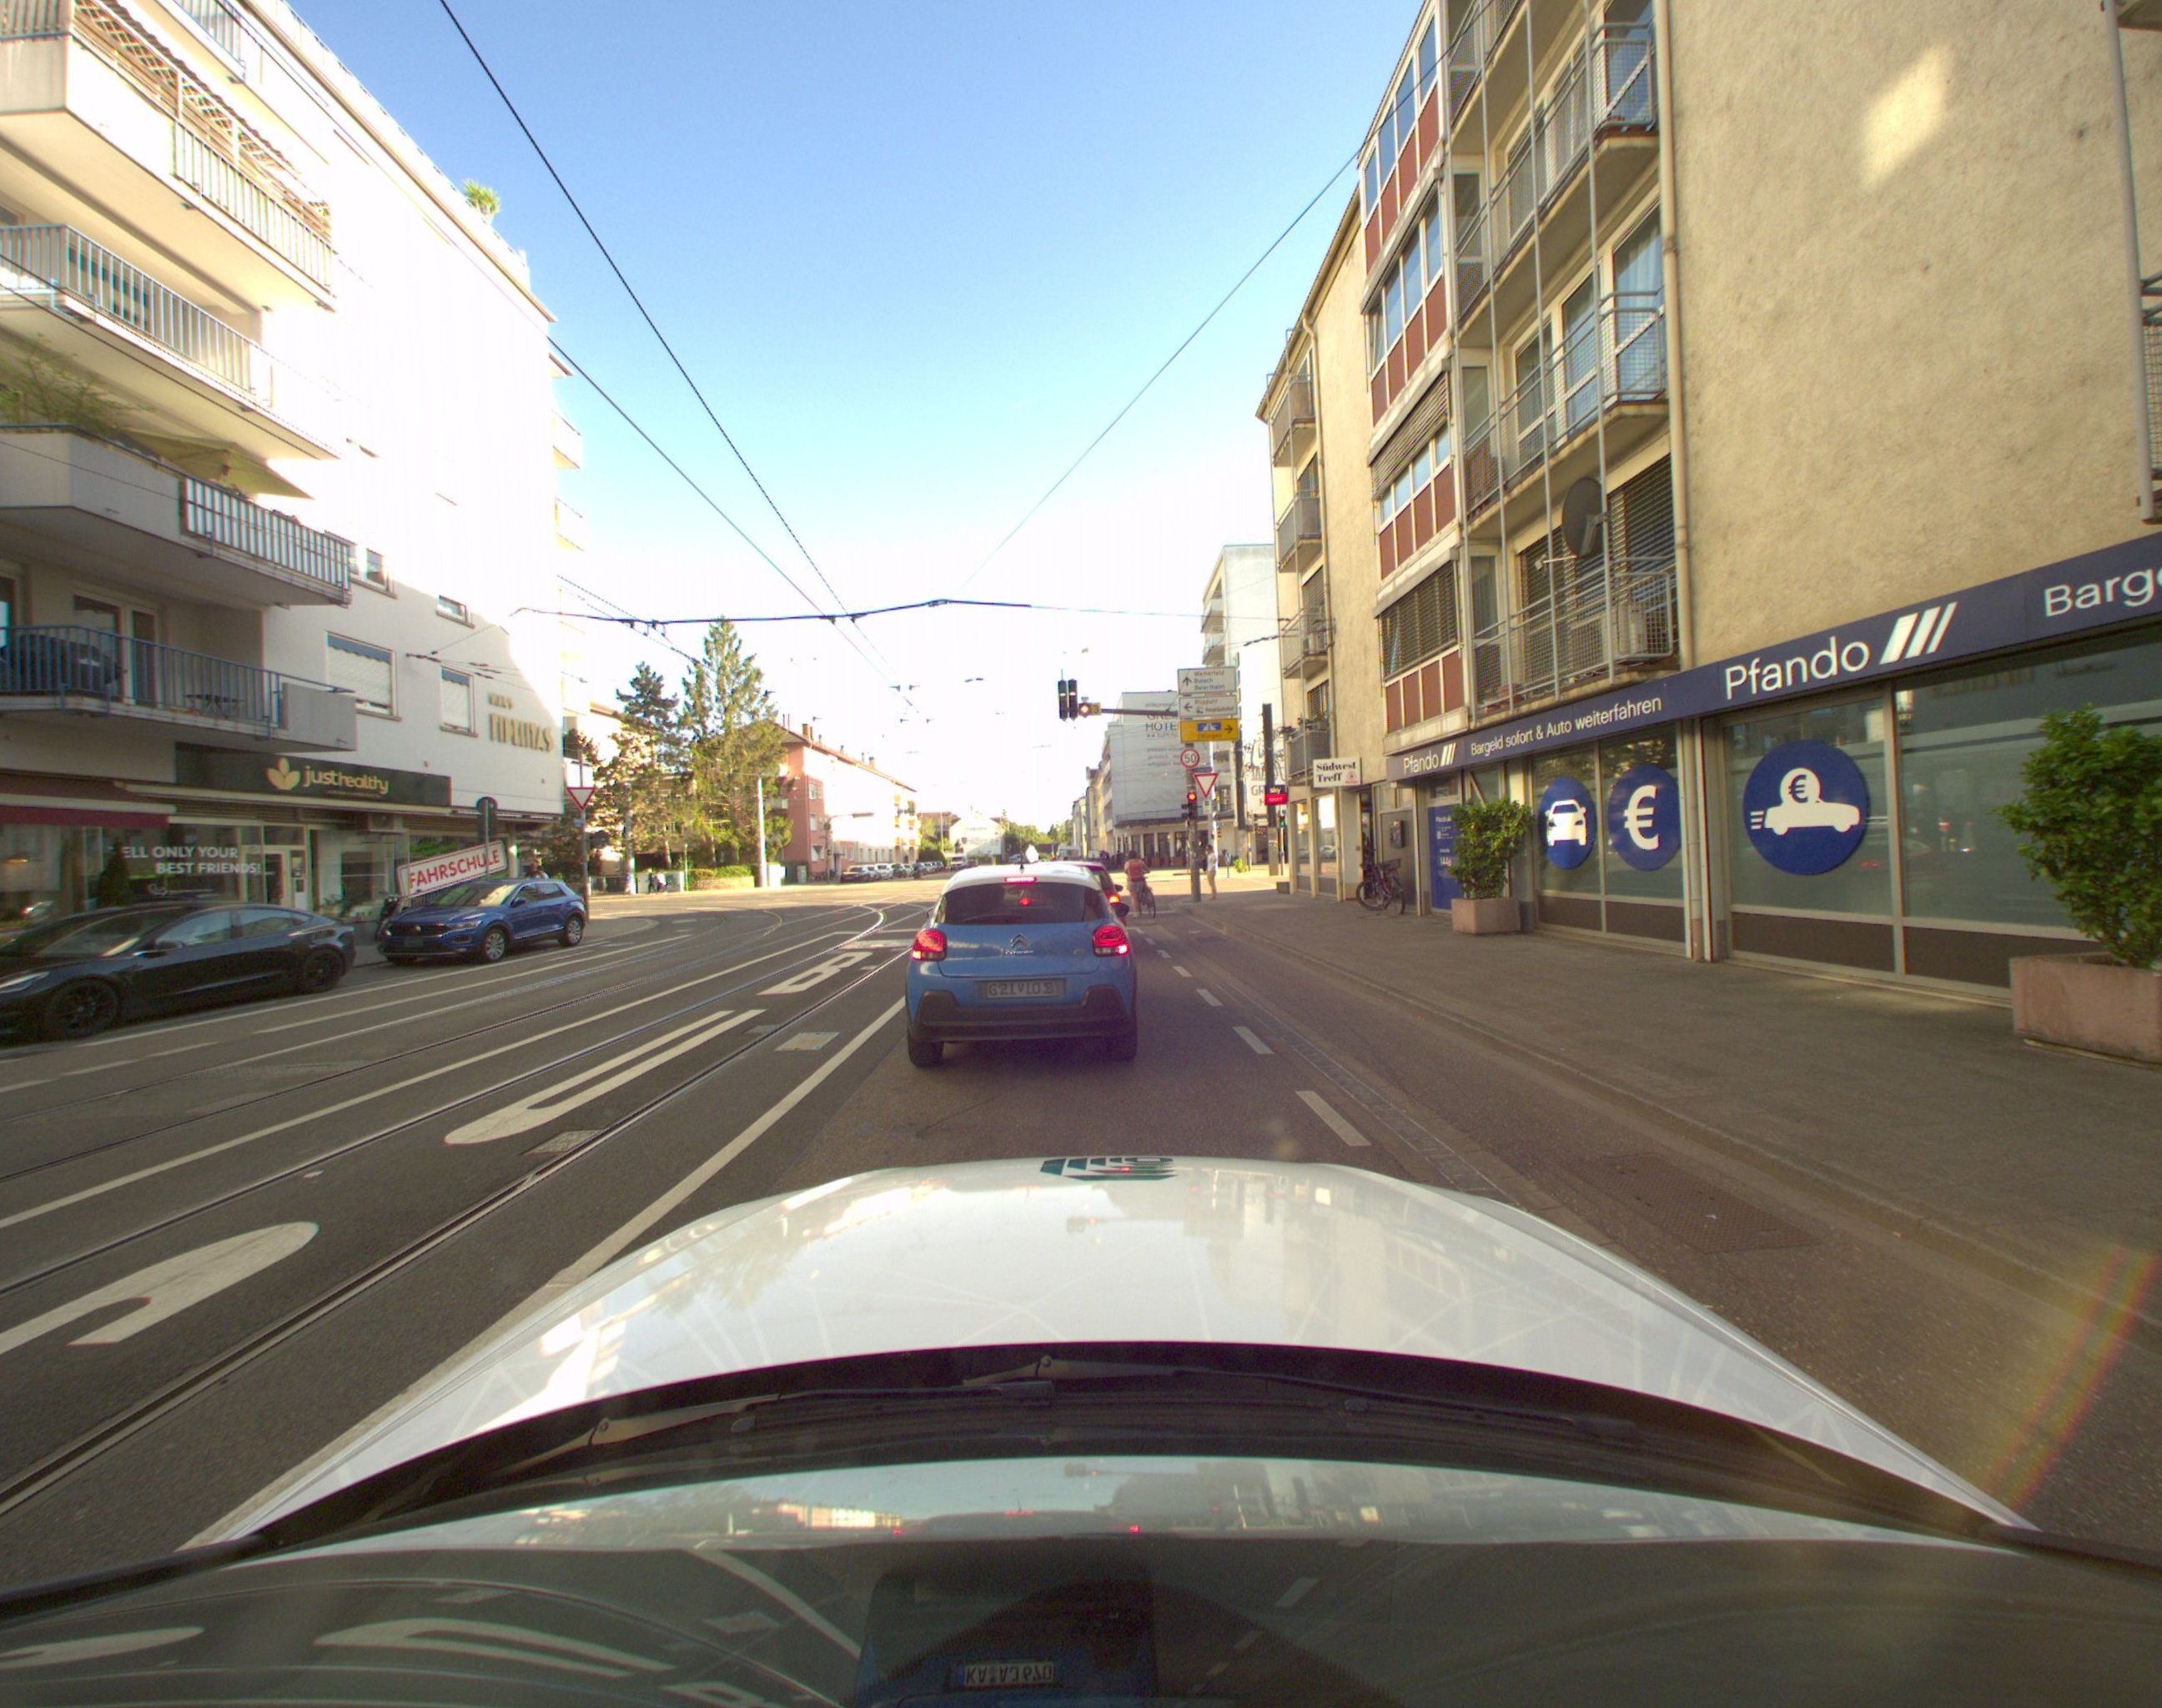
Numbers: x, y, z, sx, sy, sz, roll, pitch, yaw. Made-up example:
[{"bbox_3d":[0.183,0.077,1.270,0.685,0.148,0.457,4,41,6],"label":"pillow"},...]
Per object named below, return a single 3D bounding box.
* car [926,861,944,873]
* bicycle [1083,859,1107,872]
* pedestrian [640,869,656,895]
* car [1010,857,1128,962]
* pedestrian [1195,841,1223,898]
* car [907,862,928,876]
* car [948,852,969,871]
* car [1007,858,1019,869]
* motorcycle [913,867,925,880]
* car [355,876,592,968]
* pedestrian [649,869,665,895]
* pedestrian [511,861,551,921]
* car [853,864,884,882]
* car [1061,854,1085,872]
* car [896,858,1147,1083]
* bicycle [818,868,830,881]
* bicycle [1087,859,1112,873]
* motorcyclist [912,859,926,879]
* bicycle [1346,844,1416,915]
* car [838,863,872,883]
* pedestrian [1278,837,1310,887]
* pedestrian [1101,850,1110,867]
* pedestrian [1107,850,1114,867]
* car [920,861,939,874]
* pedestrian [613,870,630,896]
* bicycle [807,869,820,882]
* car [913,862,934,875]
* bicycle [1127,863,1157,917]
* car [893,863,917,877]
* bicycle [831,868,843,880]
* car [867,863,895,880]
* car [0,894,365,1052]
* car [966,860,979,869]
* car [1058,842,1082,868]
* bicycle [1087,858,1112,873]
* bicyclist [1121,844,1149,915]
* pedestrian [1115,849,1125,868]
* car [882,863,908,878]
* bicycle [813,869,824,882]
[{"bbox_3d":[-20.725,1.854,115.695,1.947,1.519,3.995,-2,0,-4],"label":"car"},{"bbox_3d":[1.161,0.955,68.455,1.901,1.064,0.641,-2,0,-6],"label":"bicycle"},{"bbox_3d":[-29.210,1.898,54.912,0.812,1.702,0.629,-2,0,-22],"label":"pedestrian"},{"bbox_3d":[-0.224,0.809,13.719,1.675,1.462,3.997,-1,0,-2],"label":"car"},{"bbox_3d":[3.841,0.454,24.427,0.747,1.635,0.742,-2,0,7],"label":"pedestrian"},{"bbox_3d":[-19.851,1.786,99.036,1.947,1.519,3.995,-2,0,-4],"label":"car"},{"bbox_3d":[-18.126,1.106,120.587,2.489,2.712,5.828,-2,0,-5],"label":"car"},{"bbox_3d":[-14.266,1.985,171.422,2.333,2.039,5.044,-2,0,-4],"label":"car"},{"bbox_3d":[-13.482,1.598,67.772,0.751,0.976,2.092,-2,0,-7],"label":"motorcycle"},{"bbox_3d":[-11.876,1.242,16.337,1.720,1.505,4.113,0,0,-2],"label":"car"},{"bbox_3d":[-28.383,1.856,54.551,0.812,1.702,0.602,-2,0,-22],"label":"pedestrian"},{"bbox_3d":[-17.285,1.168,25.607,0.761,1.834,0.725,-2,0,28],"label":"pedestrian"},{"bbox_3d":[-19.570,1.718,75.254,1.947,1.519,4.040,-2,0,-4],"label":"car"},{"bbox_3d":[-0.714,0.744,67.997,1.783,1.359,3.909,-2,0,-4],"label":"car"},{"bbox_3d":[-0.450,0.789,7.511,1.675,1.462,3.997,-1,0,-2],"label":"car"},{"bbox_3d":[-23.048,1.842,73.117,0.536,1.082,1.908,-2,0,-4],"label":"bicycle"},{"bbox_3d":[1.527,0.963,67.253,1.901,1.064,0.641,-2,0,-6],"label":"bicycle"},{"bbox_3d":[-13.473,1.270,67.705,0.990,1.631,0.737,-2,0,-7],"label":"motorcyclist"},{"bbox_3d":[5.761,0.457,15.751,0.637,1.264,1.911,-2,0,2],"label":"bicycle"},{"bbox_3d":[-19.289,1.600,69.631,1.947,1.519,3.995,-2,0,-4],"label":"car"},{"bbox_3d":[7.310,0.270,27.998,0.705,1.647,0.732,-2,0,-34],"label":"pedestrian"},{"bbox_3d":[2.105,0.398,70.391,0.520,1.420,0.550,-3,0,22],"label":"pedestrian"},{"bbox_3d":[2.525,0.382,70.129,0.467,1.420,0.524,-2,0,-11],"label":"pedestrian"},{"bbox_3d":[-20.297,1.774,109.339,1.947,1.519,3.995,-2,0,-4],"label":"car"},{"bbox_3d":[-31.489,1.996,55.846,0.810,1.702,0.677,-2,0,-15],"label":"pedestrian"},{"bbox_3d":[-22.379,1.793,68.088,0.640,1.082,1.905,-2,0,-9],"label":"bicycle"},{"bbox_3d":[-20.096,1.802,104.050,1.947,1.519,3.995,-2,0,-4],"label":"car"},{"bbox_3d":[1.535,0.887,20.738,0.611,1.264,1.911,-2,0,2],"label":"bicycle"},{"bbox_3d":[-19.980,1.791,92.607,1.947,1.519,3.995,-2,0,-4],"label":"car"},{"bbox_3d":[-22.715,1.860,75.813,0.608,1.082,1.908,-2,0,-4],"label":"bicycle"},{"bbox_3d":[-19.559,1.685,79.866,1.947,1.519,3.995,-2,0,-4],"label":"car"},{"bbox_3d":[-11.981,1.328,10.434,1.720,1.403,4.486,0,0,-2],"label":"car"},{"bbox_3d":[-19.337,1.820,145.255,1.947,1.519,3.995,-2,0,-4],"label":"car"},{"bbox_3d":[-1.037,0.088,73.459,2.074,2.269,5.647,-1,0,-2],"label":"car"},{"bbox_3d":[1.518,0.932,65.947,1.901,1.064,0.641,-2,0,-6],"label":"bicycle"},{"bbox_3d":[1.371,0.633,20.705,0.598,1.746,1.084,-2,0,2],"label":"bicyclist"},{"bbox_3d":[3.351,0.385,70.286,0.558,1.647,0.532,-2,0,-42],"label":"pedestrian"},{"bbox_3d":[-19.729,1.740,86.539,1.947,1.519,3.995,-2,0,-4],"label":"car"},{"bbox_3d":[-21.973,1.793,68.198,0.537,1.082,1.905,-2,0,-9],"label":"bicycle"}]
